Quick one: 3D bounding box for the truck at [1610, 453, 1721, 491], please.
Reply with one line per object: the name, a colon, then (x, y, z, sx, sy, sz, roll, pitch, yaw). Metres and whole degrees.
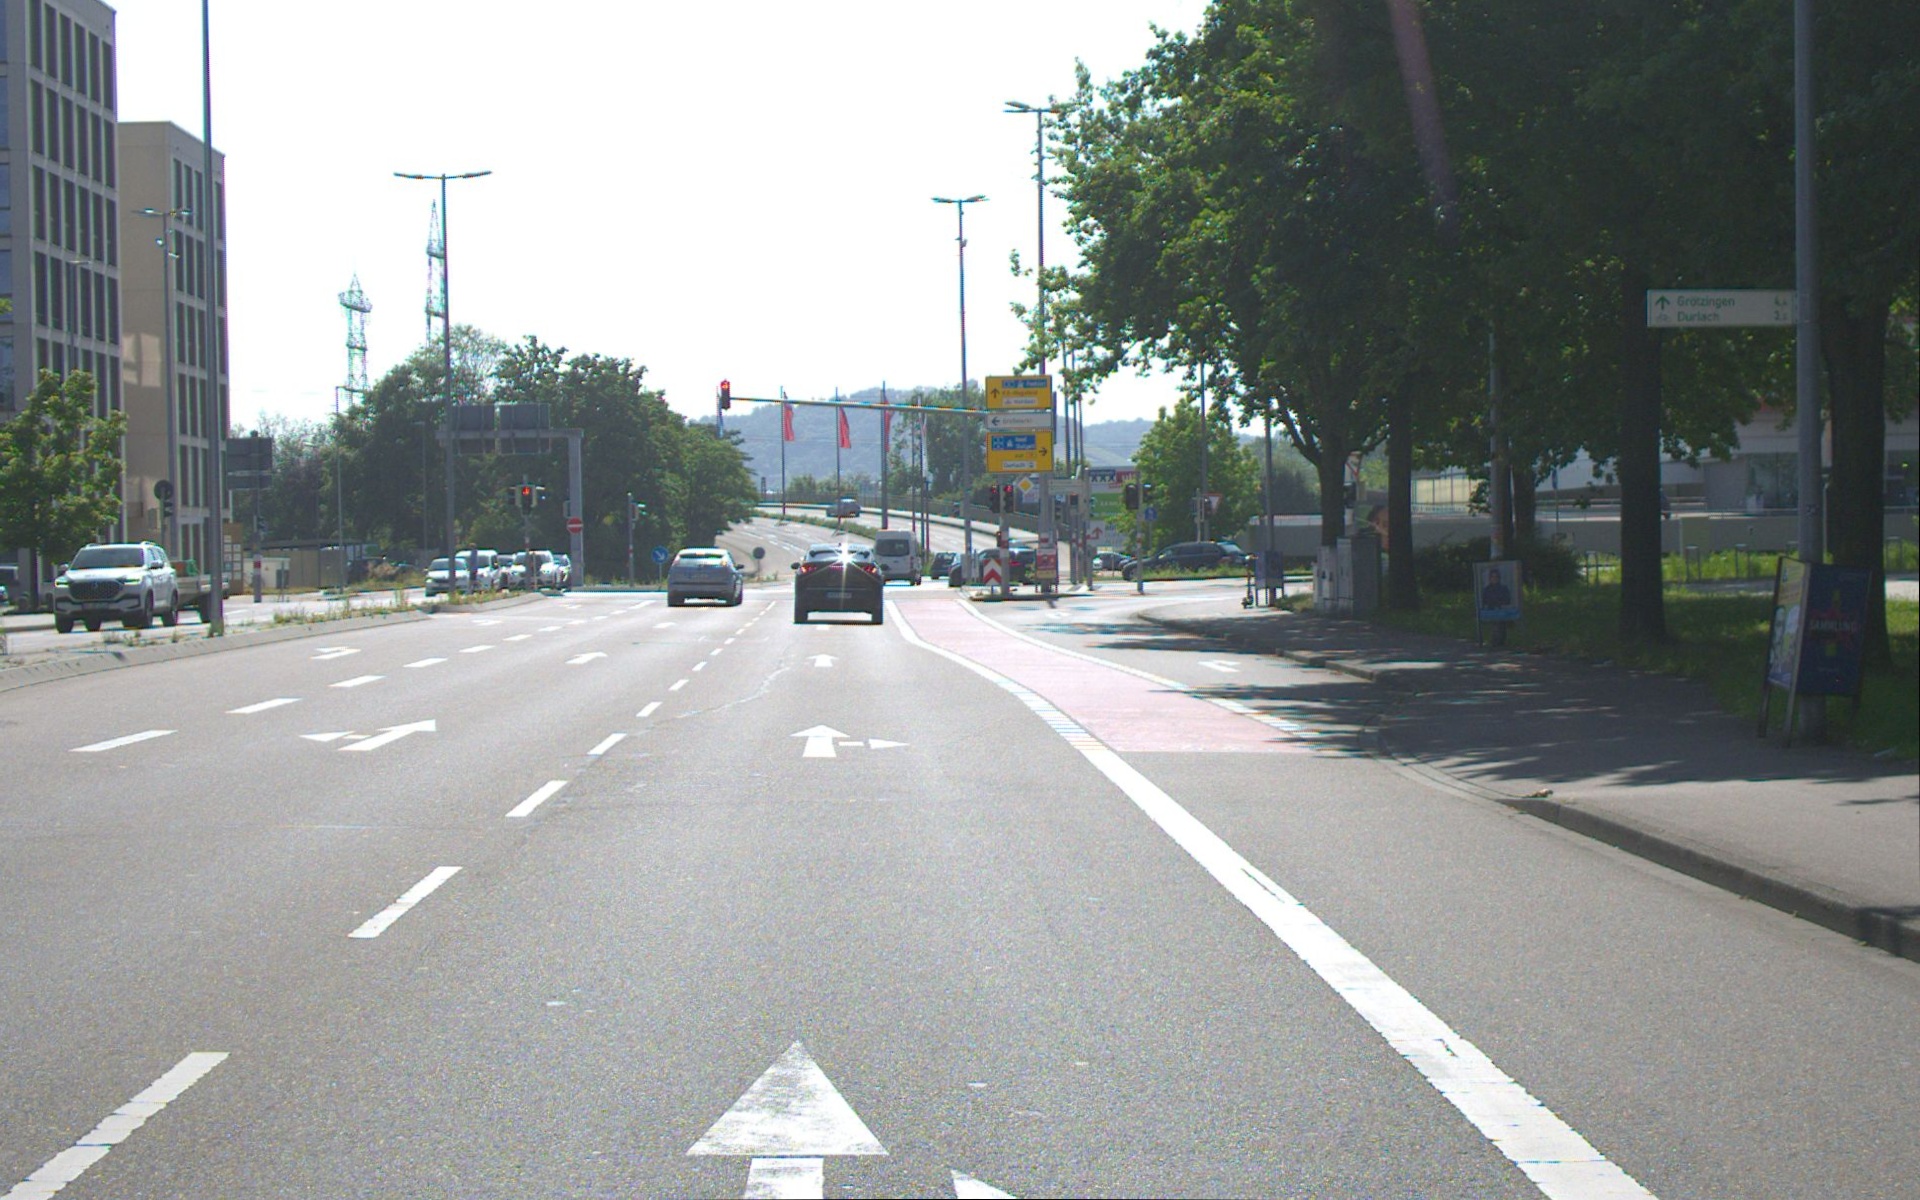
truck: (40.374, -7.333, 196.815, 5.909, 2.006, 2.000, 1, 2, 1)

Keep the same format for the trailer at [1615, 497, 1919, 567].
trailer: (31.904, -2.673, 135.161, 11.871, 2.460, 2.000, 1, 2, 1)

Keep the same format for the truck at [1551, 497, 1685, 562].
truck: (25.868, -2.780, 135.257, 4.881, 2.415, 2.000, 1, 2, 2)

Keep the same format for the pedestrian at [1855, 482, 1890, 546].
pedestrian: (25.663, -2.415, 96.670, 0.627, 1.764, 0.805, -2, 1, -12)

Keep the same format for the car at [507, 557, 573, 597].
car: (-16.181, -0.910, 132.529, 1.816, 1.459, 4.000, -1, 1, 3)

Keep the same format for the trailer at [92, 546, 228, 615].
trailer: (-17.911, -0.467, 77.239, 1.993, 1.448, 5.773, -1, 1, -3)

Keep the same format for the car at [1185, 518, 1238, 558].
car: (9.299, -2.314, 127.279, 1.689, 1.354, 4.000, 1, 2, 1)

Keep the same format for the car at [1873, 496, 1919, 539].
car: (46.452, -3.965, 166.312, 3.986, 2.006, 2.000, 1, 2, -2)

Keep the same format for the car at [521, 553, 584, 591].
car: (-16.513, -1.157, 139.498, 1.816, 1.459, 4.000, -1, 1, 3)

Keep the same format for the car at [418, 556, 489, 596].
car: (-19.330, -0.925, 131.305, 1.892, 1.459, 4.000, -1, 1, 3)

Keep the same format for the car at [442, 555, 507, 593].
car: (-19.586, -1.046, 138.786, 1.816, 1.459, 4.000, -1, 1, 3)

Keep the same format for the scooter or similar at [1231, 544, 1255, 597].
scooter or similar: (6.665, -0.695, 80.986, 0.351, 1.229, 1.310, -1, 1, 12)

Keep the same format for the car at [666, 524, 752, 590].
car: (-6.604, -1.152, 90.886, 1.993, 1.678, 4.000, -1, 1, 0)

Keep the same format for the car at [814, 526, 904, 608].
car: (-2.172, -0.716, 72.768, 1.807, 1.634, 4.459, -1, 1, -2)

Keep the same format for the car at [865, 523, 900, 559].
car: (-4.508, -3.460, 200.614, 1.993, 2.006, 3.981, 1, 2, -1)

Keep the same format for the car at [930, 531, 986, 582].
car: (-0.092, -1.612, 126.012, 1.757, 1.752, 3.603, 1, 2, -4)

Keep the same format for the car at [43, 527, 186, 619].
car: (-17.612, -0.586, 71.853, 1.993, 1.826, 4.938, -1, 1, -3)
